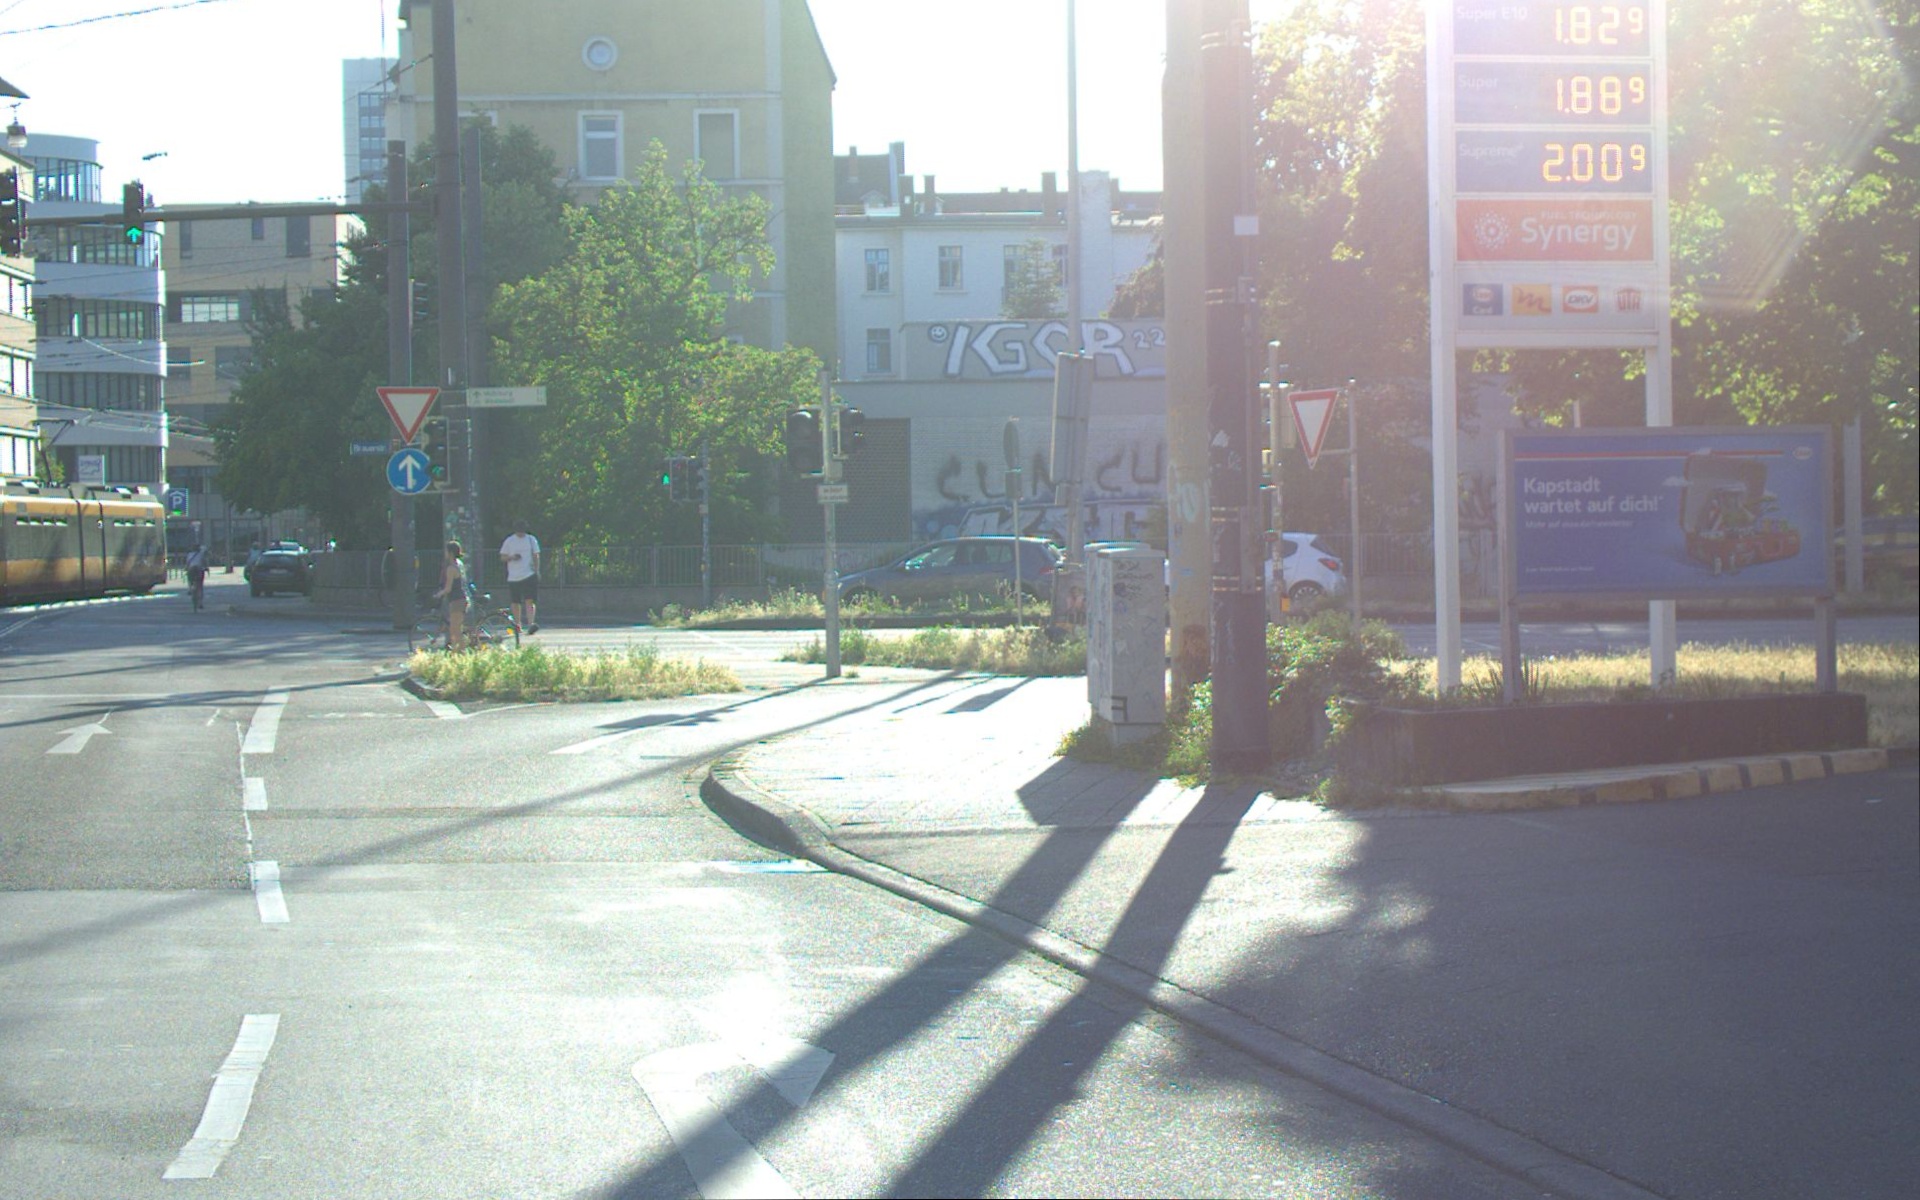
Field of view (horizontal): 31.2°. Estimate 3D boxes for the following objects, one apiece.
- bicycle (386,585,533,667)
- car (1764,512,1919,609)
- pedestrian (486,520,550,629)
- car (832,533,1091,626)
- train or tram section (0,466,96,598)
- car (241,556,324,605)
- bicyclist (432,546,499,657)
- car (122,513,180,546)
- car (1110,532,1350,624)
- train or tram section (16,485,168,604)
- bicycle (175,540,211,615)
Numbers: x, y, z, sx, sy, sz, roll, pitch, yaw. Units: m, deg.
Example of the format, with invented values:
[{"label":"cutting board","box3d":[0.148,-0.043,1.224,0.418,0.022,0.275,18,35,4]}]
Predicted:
[{"label":"bicycle","box3d":[-6.419,0.327,44.175,1.832,0.981,0.734,-1,1,-7]},{"label":"car","box3d":[14.763,-0.644,54.045,3.988,1.448,1.686,-1,1,8]},{"label":"pedestrian","box3d":[-6.945,-0.401,54.046,0.926,1.686,0.778,-1,1,-4]},{"label":"car","box3d":[0.042,-0.350,56.913,3.989,1.448,1.809,-1,1,11]},{"label":"train or tram section","box3d":[-27.131,-1.881,97.335,2.241,3.562,14.278,-1,1,-2]},{"label":"car","box3d":[-21.022,-0.621,106.765,1.993,1.459,4.001,-1,1,-4]},{"label":"bicyclist","box3d":[-6.350,0.018,44.179,0.803,1.409,0.624,-1,0,-7]},{"label":"car","box3d":[-35.957,-3.128,152.854,1.794,1.405,4.001,-1,1,-3]},{"label":"car","box3d":[4.712,-0.386,59.767,3.988,1.502,1.672,-1,1,10]},{"label":"train or tram section","box3d":[-27.659,-1.775,110.075,2.222,3.567,12.210,-1,1,-3]},{"label":"bicycle","box3d":[-18.621,-0.557,83.496,0.565,1.800,1.359,-1,1,-2]}]
